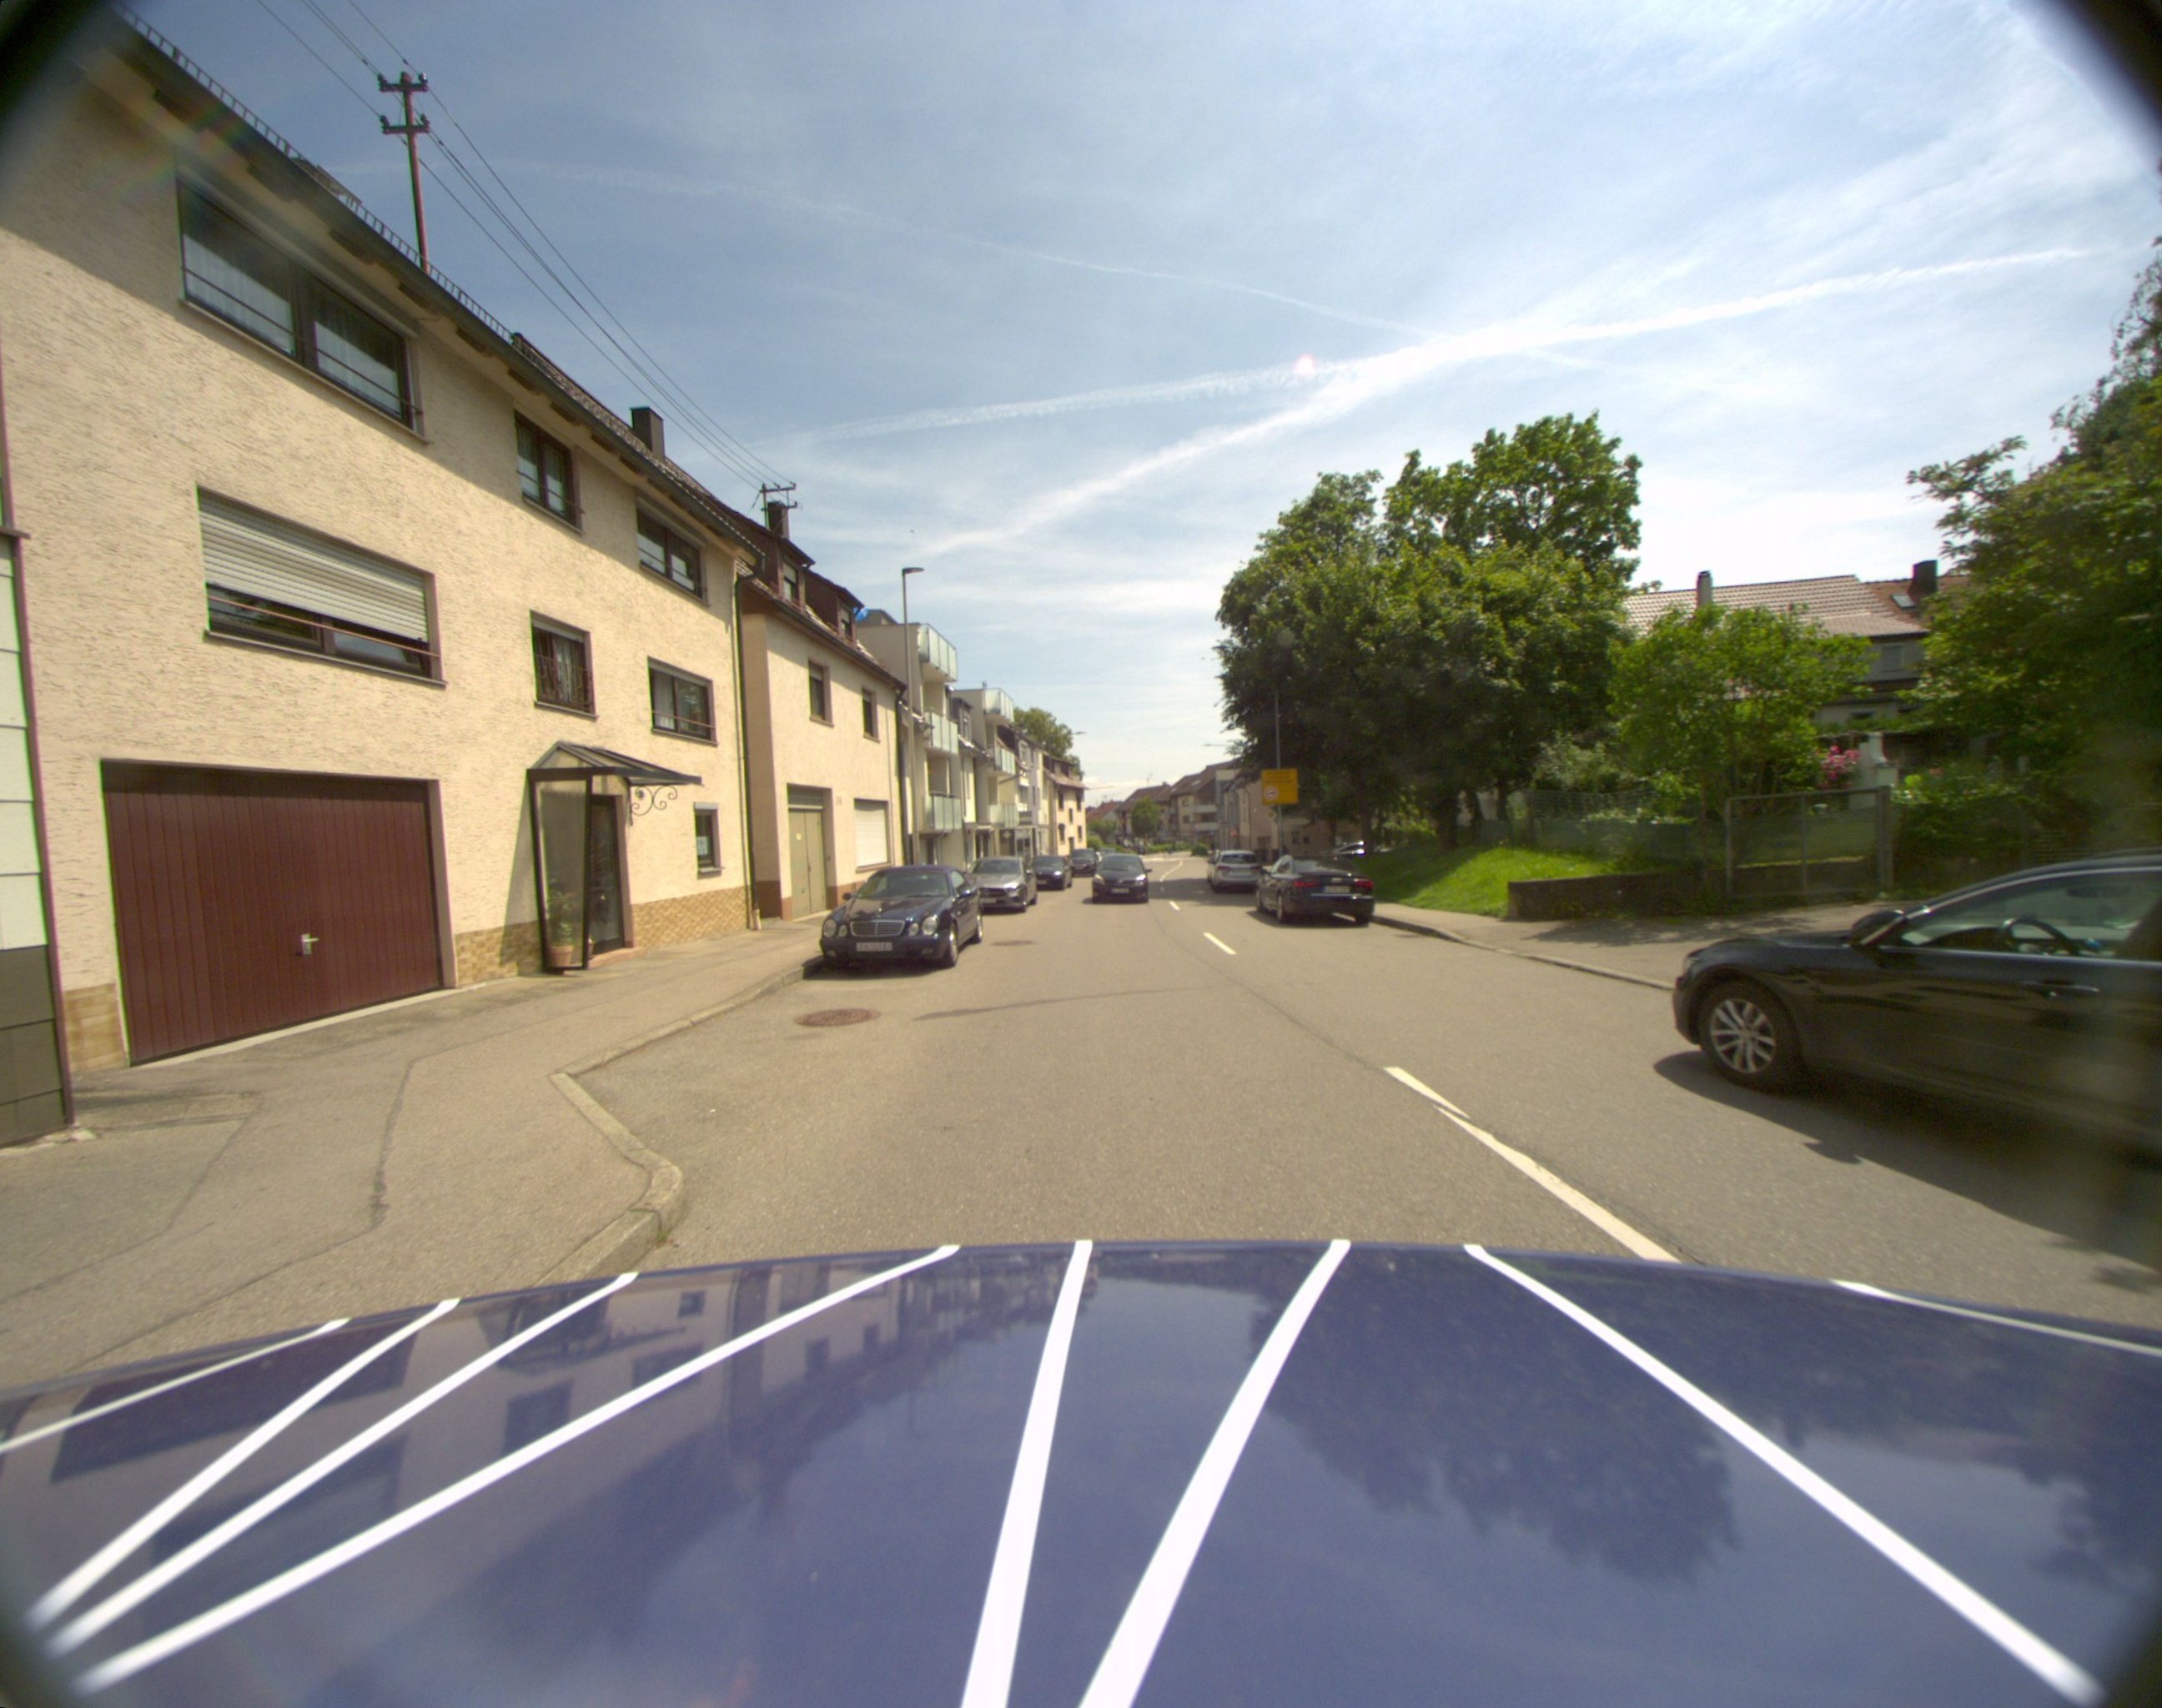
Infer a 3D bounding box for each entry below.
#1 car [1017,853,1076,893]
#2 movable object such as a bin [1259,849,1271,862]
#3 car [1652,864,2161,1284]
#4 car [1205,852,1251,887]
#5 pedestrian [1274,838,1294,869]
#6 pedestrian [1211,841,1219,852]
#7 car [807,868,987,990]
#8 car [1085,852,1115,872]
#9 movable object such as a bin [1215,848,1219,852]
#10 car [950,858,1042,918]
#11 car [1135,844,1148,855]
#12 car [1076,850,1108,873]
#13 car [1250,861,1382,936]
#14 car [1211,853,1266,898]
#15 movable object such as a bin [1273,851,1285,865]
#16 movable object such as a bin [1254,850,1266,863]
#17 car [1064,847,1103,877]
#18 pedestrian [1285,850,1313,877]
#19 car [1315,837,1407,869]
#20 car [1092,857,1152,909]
[{"bbox_3d":[-1.337,0.731,31.248,1.800,1.416,4.291,-1,1,6],"label":"car"},{"bbox_3d":[14.673,0.135,60.570,0.802,0.994,0.805,-4,1,10],"label":"movable object such as a bin"},{"bbox_3d":[4.841,0.830,2.878,1.793,1.455,4.711,-1,0,-1],"label":"car"},{"bbox_3d":[6.745,0.669,35.147,1.758,1.458,4.364,0,1,7],"label":"car"},{"bbox_3d":[10.614,-0.035,39.783,0.732,1.607,0.628,-3,2,-13],"label":"pedestrian"},{"bbox_3d":[17.683,-0.964,100.277,0.802,1.470,0.957,-3,1,0],"label":"pedestrian"},{"bbox_3d":[-2.543,0.972,11.522,1.670,1.345,4.186,-2,0,0],"label":"car"},{"bbox_3d":[1.490,0.563,58.906,1.792,1.412,4.360,-1,1,8],"label":"car"},{"bbox_3d":[17.877,-0.532,99.916,0.459,0.578,0.469,-3,1,1],"label":"movable object such as a bin"},{"bbox_3d":[-2.173,0.833,20.580,1.798,1.395,4.412,0,1,2],"label":"car"},{"bbox_3d":[9.527,-0.680,119.593,1.756,1.575,3.944,-3,1,1],"label":"car"},{"bbox_3d":[0.812,0.503,53.250,1.792,1.447,4.718,-1,1,5],"label":"car"},{"bbox_3d":[5.111,0.889,17.259,1.808,1.415,4.929,0,0,4],"label":"car"},{"bbox_3d":[5.868,0.752,28.718,1.776,1.518,4.224,0,1,8],"label":"car"},{"bbox_3d":[15.052,0.281,57.720,0.773,0.995,0.609,-6,3,11],"label":"movable object such as a bin"},{"bbox_3d":[14.285,0.211,60.588,0.853,0.994,0.694,-2,1,10],"label":"movable object such as a bin"},{"bbox_3d":[0.206,0.466,46.536,1.957,1.706,4.718,-1,1,5],"label":"car"},{"bbox_3d":[10.872,0.454,37.863,1.238,1.262,0.647,-3,1,11],"label":"pedestrian"},{"bbox_3d":[16.871,-0.057,45.824,4.791,1.471,1.998,-5,2,-11],"label":"car"},{"bbox_3d":[1.204,0.835,24.056,1.725,1.448,4.429,0,1,1],"label":"car"}]
